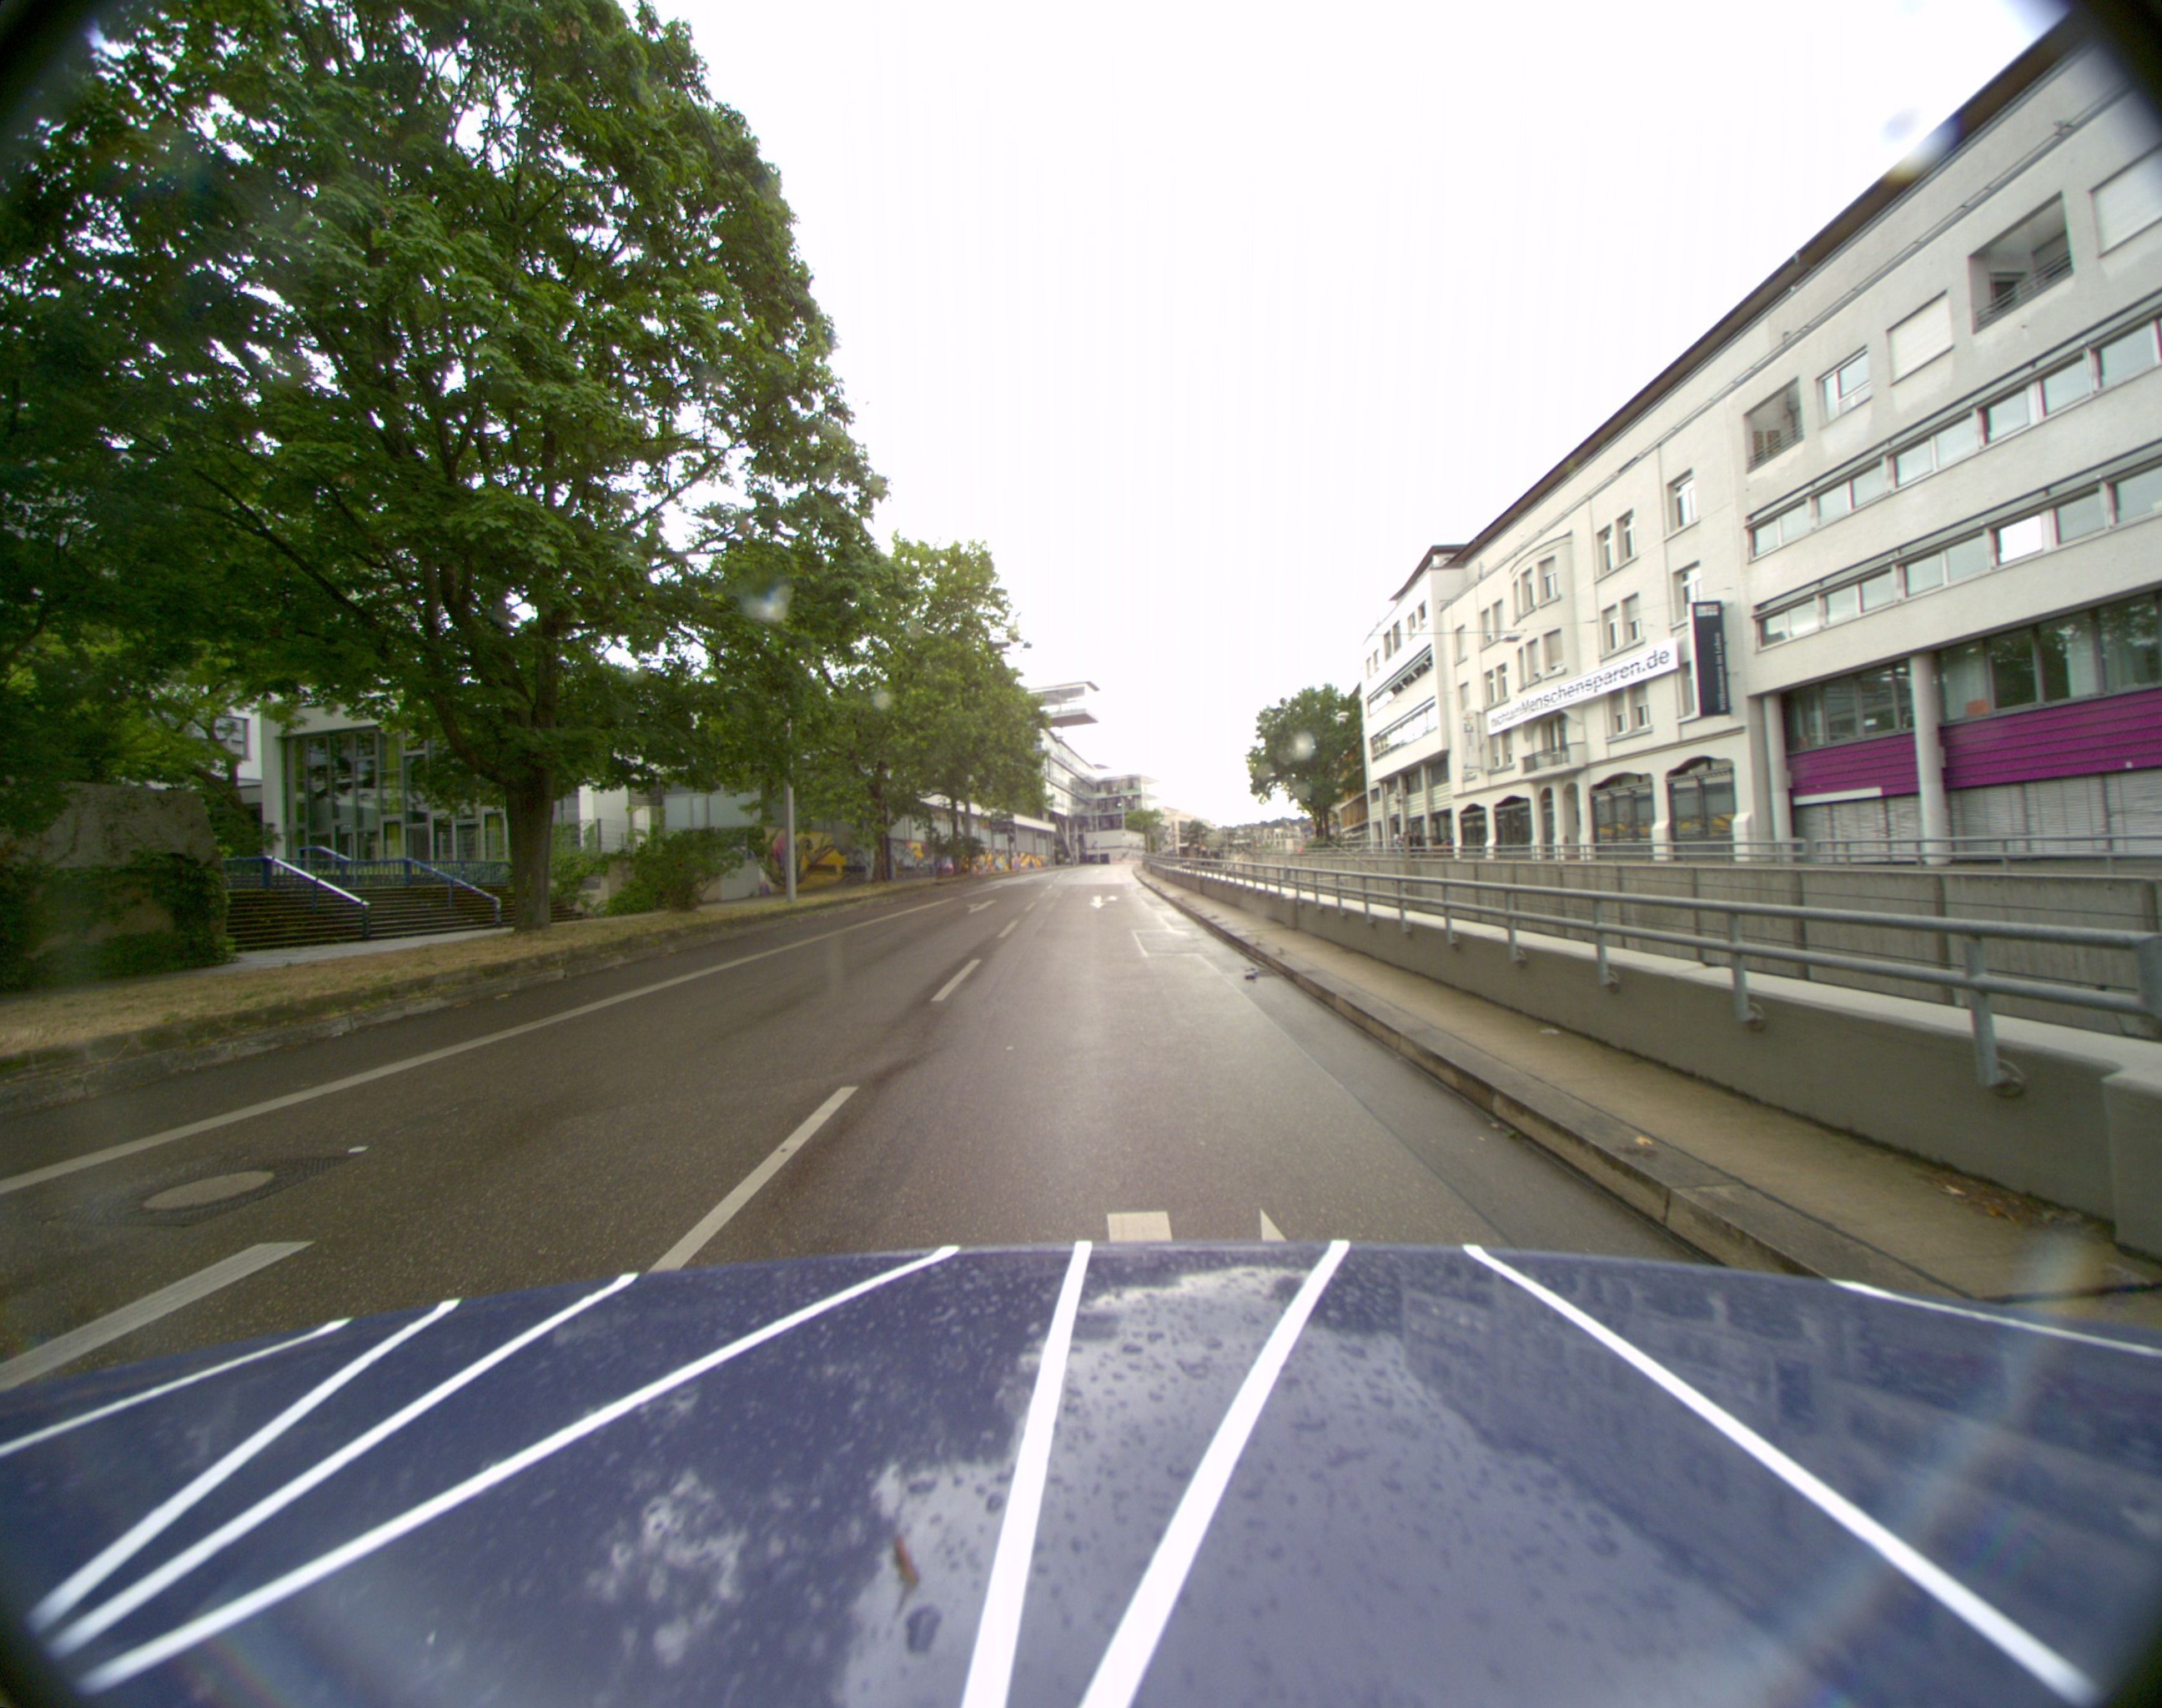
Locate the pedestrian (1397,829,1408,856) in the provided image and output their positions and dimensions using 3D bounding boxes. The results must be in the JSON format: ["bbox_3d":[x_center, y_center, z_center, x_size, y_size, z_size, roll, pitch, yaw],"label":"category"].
[{"bbox_3d":[21.748,-0.759,51.350,0.469,1.792,0.548,-4,1,8],"label":"pedestrian"}]

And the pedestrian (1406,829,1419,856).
[{"bbox_3d":[22.476,-0.782,51.577,0.547,1.792,0.470,-4,1,-7],"label":"pedestrian"}]

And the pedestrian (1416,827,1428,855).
[{"bbox_3d":[22.567,-0.857,50.315,0.470,1.792,0.547,-4,1,3],"label":"pedestrian"}]
